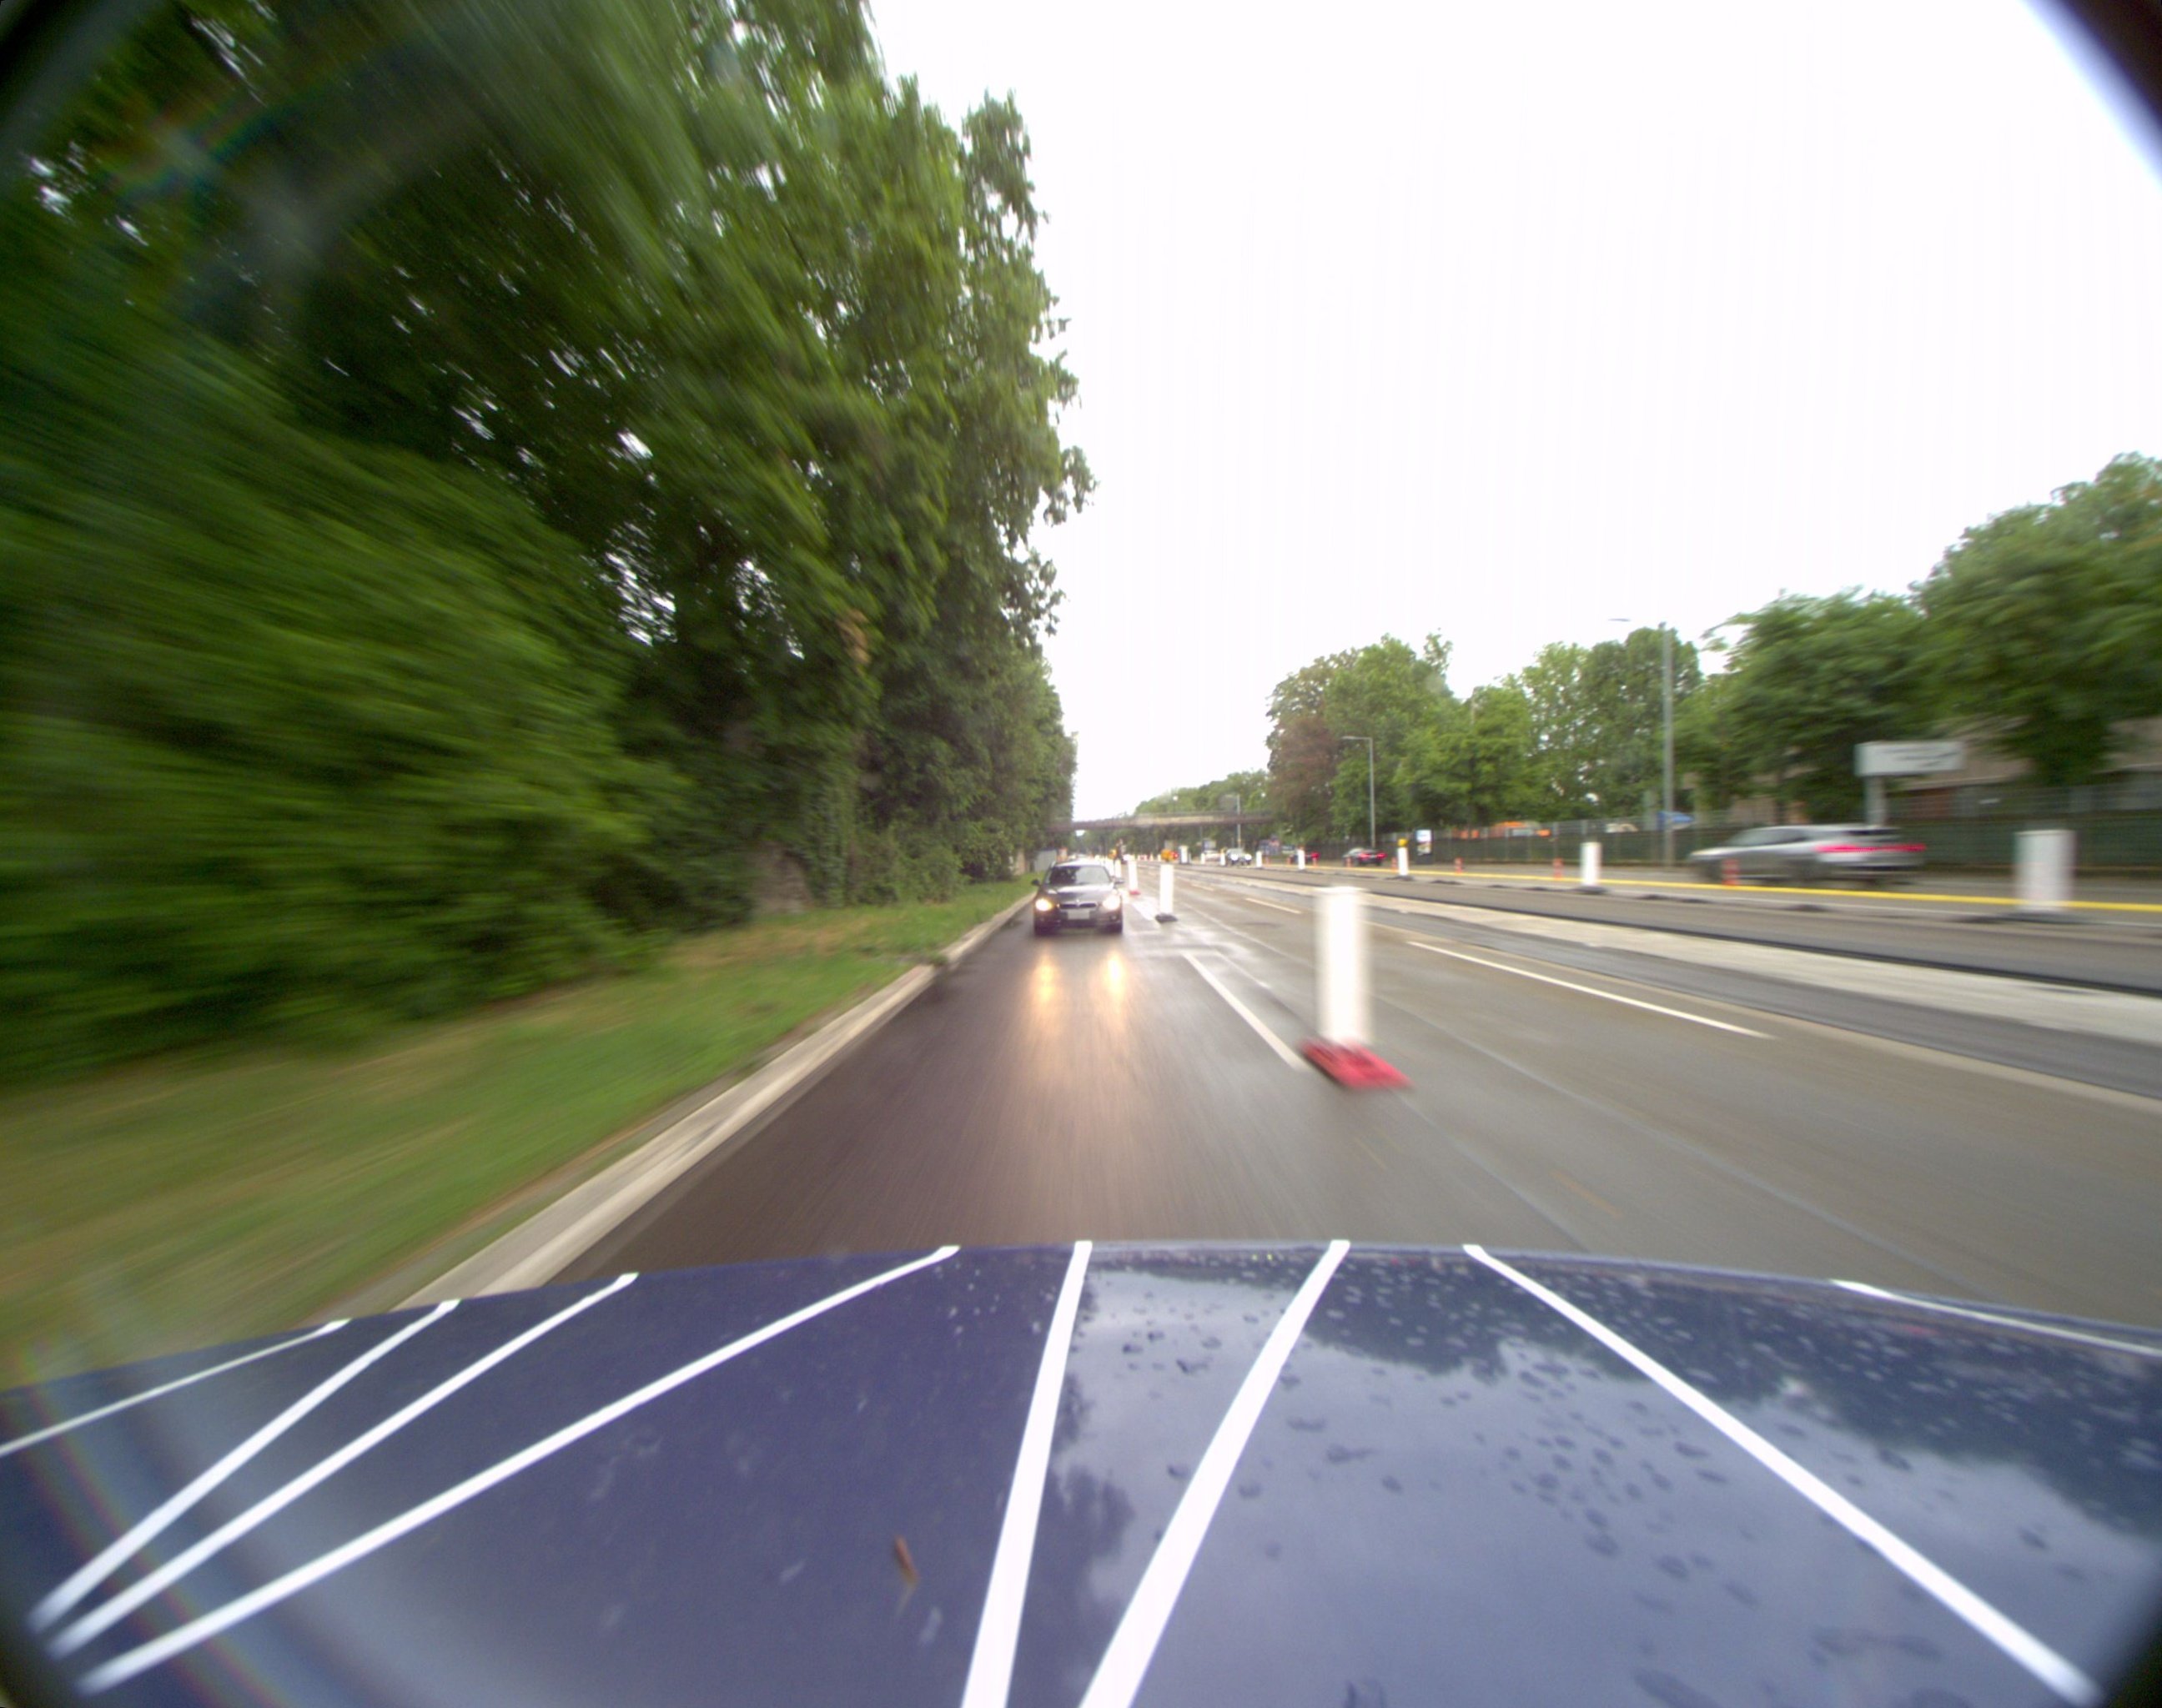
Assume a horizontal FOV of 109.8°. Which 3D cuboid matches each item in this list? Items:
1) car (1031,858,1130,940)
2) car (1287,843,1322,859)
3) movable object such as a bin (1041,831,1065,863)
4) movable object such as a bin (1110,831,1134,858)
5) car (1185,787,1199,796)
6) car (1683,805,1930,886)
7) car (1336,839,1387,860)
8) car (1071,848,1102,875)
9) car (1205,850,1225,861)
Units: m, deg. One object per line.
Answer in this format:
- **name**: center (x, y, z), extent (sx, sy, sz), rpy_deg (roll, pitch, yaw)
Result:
- **car**: center (-0.044, 0.875, 16.545), extent (1.838, 1.397, 3.999), rpy_deg (-3, 1, -1)
- **car**: center (21.501, -0.313, 73.229), extent (1.999, 1.421, 4.264), rpy_deg (-2, 0, -1)
- **movable object such as a bin**: center (-3.603, -0.940, 99.723), extent (2.890, 3.917, 6.104), rpy_deg (-3, 1, -1)
- **movable object such as a bin**: center (6.997, -1.664, 131.663), extent (3.526, 4.495, 10.068), rpy_deg (-3, 1, 0)
- **car**: center (21.334, -12.015, 146.385), extent (1.998, 1.509, 4.304), rpy_deg (-3, 1, 0)
- **car**: center (18.360, -0.221, 19.626), extent (1.993, 1.758, 4.674), rpy_deg (-3, 1, 2)
- **car**: center (21.094, -0.354, 57.332), extent (2.051, 1.446, 4.764), rpy_deg (-3, 1, 1)
- **car**: center (0.377, 0.495, 53.008), extent (1.998, 1.650, 4.229), rpy_deg (-3, 1, 0)
- **car**: center (19.006, 0.225, 107.842), extent (1.998, 1.504, 4.266), rpy_deg (-2, 0, 1)
